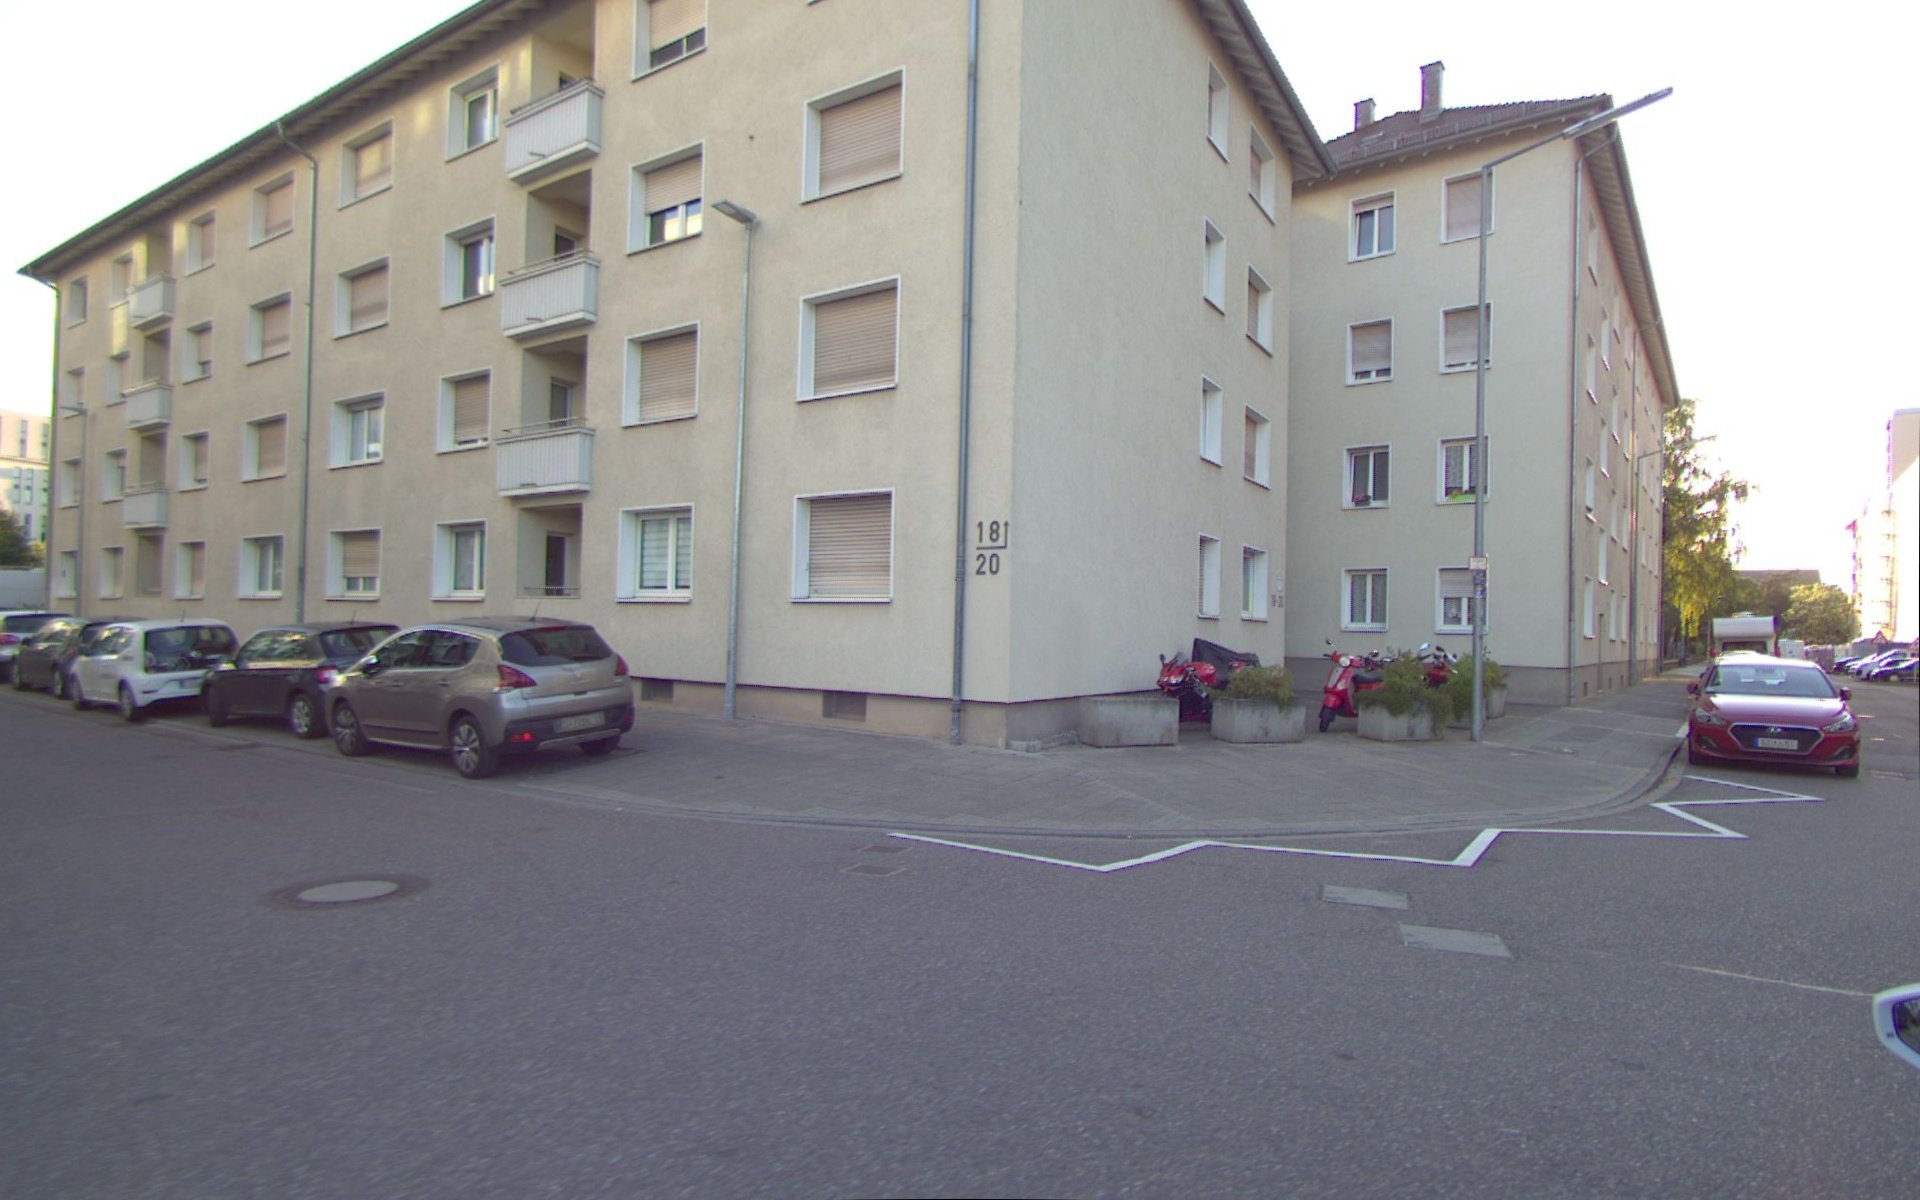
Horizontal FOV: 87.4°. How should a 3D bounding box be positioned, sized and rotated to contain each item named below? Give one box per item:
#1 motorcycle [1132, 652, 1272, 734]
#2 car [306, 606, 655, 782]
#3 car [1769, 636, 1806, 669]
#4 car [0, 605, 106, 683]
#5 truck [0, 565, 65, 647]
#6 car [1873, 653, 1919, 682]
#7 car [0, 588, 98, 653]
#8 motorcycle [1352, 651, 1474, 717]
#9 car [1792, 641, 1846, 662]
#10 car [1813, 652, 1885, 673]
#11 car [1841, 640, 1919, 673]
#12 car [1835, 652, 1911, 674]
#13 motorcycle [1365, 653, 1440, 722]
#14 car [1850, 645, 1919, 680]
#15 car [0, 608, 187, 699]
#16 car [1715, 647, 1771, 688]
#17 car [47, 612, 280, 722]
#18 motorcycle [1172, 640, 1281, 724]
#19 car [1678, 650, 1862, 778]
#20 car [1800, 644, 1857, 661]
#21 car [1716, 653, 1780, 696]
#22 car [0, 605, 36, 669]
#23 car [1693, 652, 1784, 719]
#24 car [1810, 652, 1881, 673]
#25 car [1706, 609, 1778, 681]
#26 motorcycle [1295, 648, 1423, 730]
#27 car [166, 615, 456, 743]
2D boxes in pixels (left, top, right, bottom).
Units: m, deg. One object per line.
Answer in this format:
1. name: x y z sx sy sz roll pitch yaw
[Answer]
1. motorcycle: 3.527 1.321 14.558 2.058 1.093 0.719 3 -2 -32
2. car: -5.640 0.933 11.717 3.952 1.640 1.875 0 2 33
3. car: 71.332 4.532 86.680 2.101 2.752 4.817 -2 -3 36
4. car: -20.790 0.911 22.207 3.881 1.504 1.875 0 2 33
5. truck: -34.073 0.244 33.414 2.299 2.759 5.983 0 2 33
6. car: 52.456 3.661 54.632 3.937 1.550 1.652 -2 -3 38
7. car: -30.554 0.660 31.411 2.299 1.939 4.987 0 2 33
8. motorcycle: 8.672 1.590 19.321 0.556 1.120 2.106 3 -2 -40
9. car: 102.697 6.170 120.117 4.754 2.439 1.732 -1 -3 38
10. car: 67.421 4.730 76.277 3.937 1.550 1.652 -2 -3 38
11. car: 60.071 3.668 65.318 3.933 2.040 1.994 0 -2 35
12. car: 66.794 4.613 73.569 3.937 1.550 1.652 -2 -3 38
13. motorcycle: 7.643 1.475 17.295 0.674 1.093 2.026 0 -2 39
14. car: 56.732 3.746 60.341 4.754 1.993 1.732 -2 -3 38
15. car: -16.967 0.960 19.538 3.881 1.504 1.875 0 2 33
16. car: 31.637 2.692 40.668 1.631 1.585 3.863 -2 -3 36
17. car: -13.249 1.006 16.674 3.881 1.504 1.875 0 2 33
18. motorcycle: 4.417 1.326 16.577 2.065 1.281 0.717 3 -2 -42
19. car: 11.475 1.505 14.450 1.821 1.492 4.064 0 -2 36
20. car: 81.303 4.942 94.092 3.937 1.550 1.652 -2 -3 38
21. car: 28.384 2.629 36.270 1.631 1.453 3.863 -2 -3 36
22. car: -24.732 0.907 24.811 3.881 1.504 1.875 0 2 33
23. car: 18.806 2.003 24.372 1.595 1.492 3.493 -2 -3 36
24. car: 68.564 4.809 77.843 3.937 1.550 1.652 -2 -3 38
25. car: 38.793 2.257 49.877 2.588 3.311 7.666 -2 -3 38
26. motorcycle: 6.173 1.361 15.506 2.008 1.175 0.686 3 -2 -28
27. car: -9.464 1.038 14.622 3.947 1.521 1.877 0 2 29
